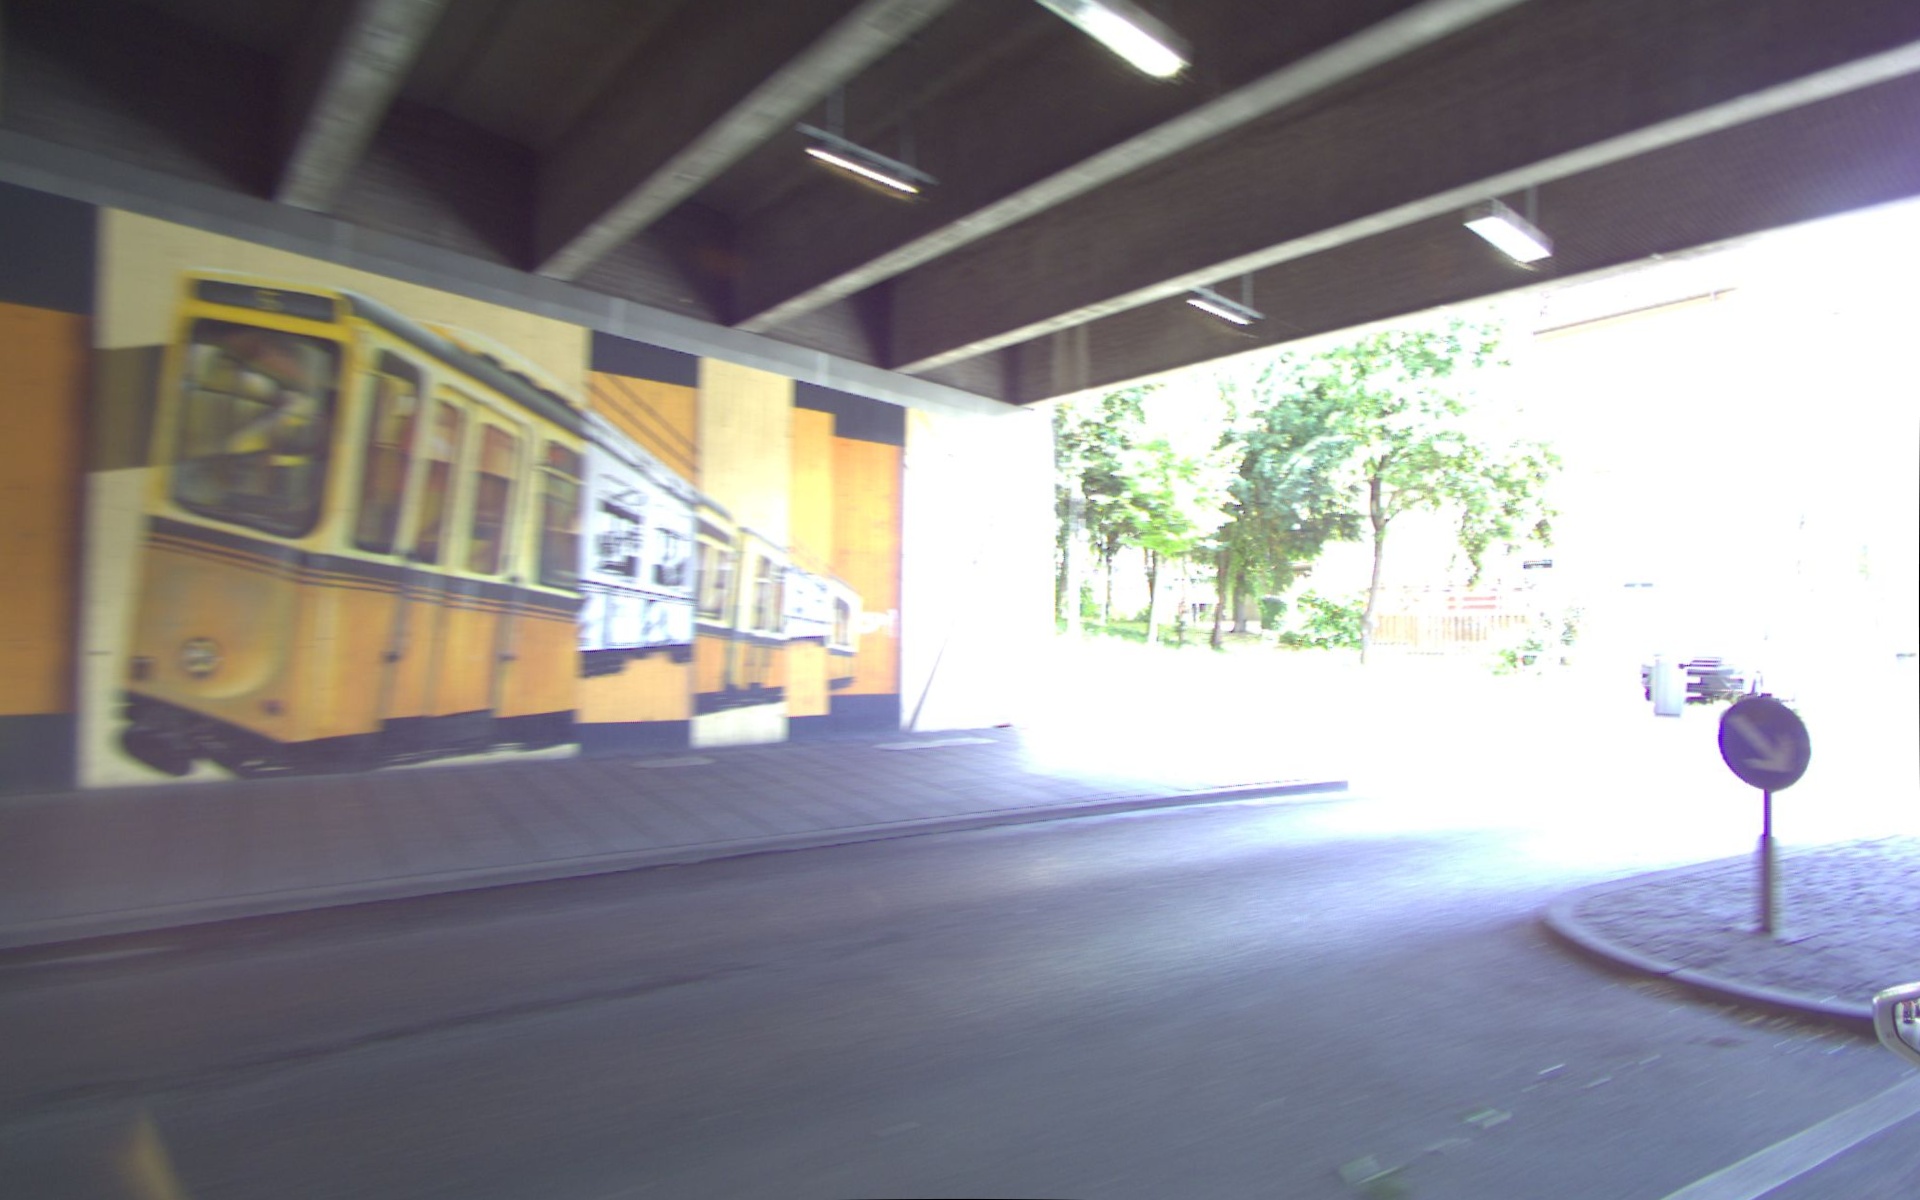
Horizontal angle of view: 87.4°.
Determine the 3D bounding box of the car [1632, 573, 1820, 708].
[{"bbox_3d":[17.131,0.857,22.330,5.880,2.641,1.952,2,0,-39],"label":"car"}]
